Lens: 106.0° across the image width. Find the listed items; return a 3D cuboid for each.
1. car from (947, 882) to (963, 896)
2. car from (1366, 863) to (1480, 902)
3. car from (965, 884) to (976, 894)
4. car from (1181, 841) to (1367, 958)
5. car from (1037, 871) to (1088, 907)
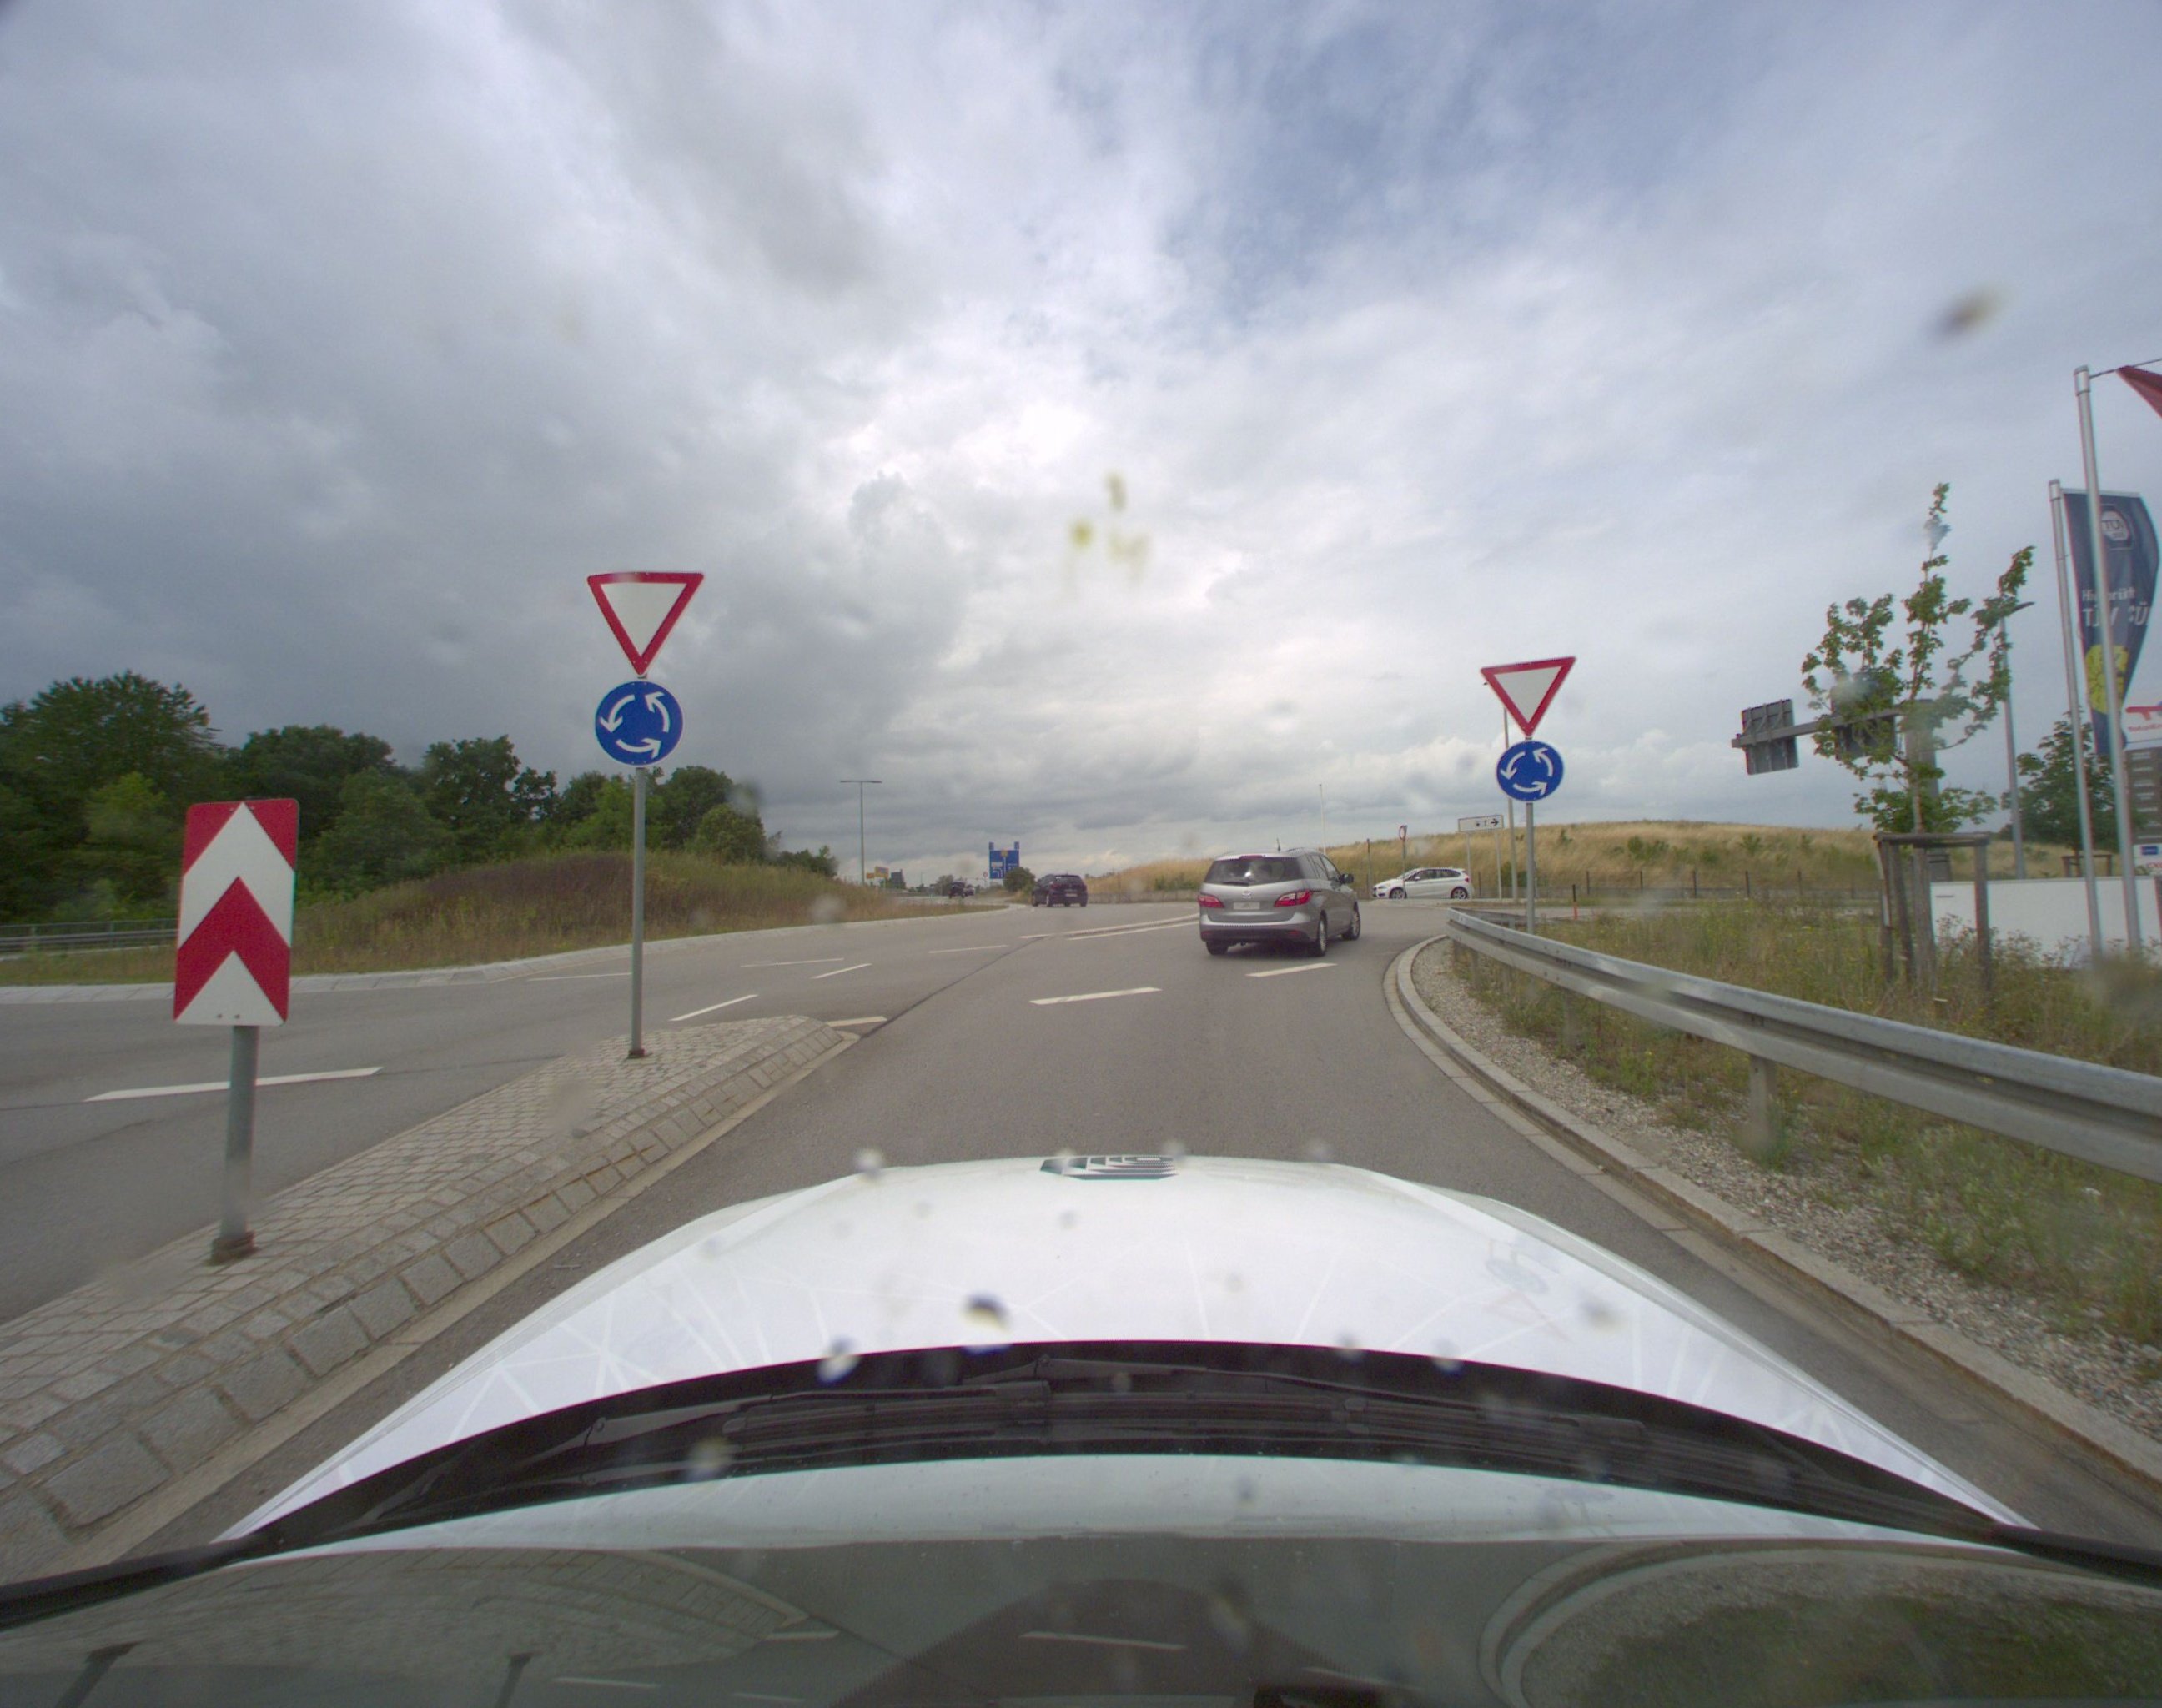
[{"bbox_3d":[-15.286,4.254,98.583,1.600,1.549,4.028,-2,-1,-13],"label":"car"},{"bbox_3d":[15.276,1.273,36.543,4.391,1.629,1.787,-1,-1,5],"label":"car"},{"bbox_3d":[-19.741,6.289,145.491,1.600,1.549,4.028,-2,-1,-13],"label":"car"},{"bbox_3d":[3.263,0.673,13.158,1.893,1.574,4.024,-3,-2,28],"label":"car"},{"bbox_3d":[-0.872,1.497,35.828,1.661,1.378,3.987,-2,-1,-9],"label":"car"}]
